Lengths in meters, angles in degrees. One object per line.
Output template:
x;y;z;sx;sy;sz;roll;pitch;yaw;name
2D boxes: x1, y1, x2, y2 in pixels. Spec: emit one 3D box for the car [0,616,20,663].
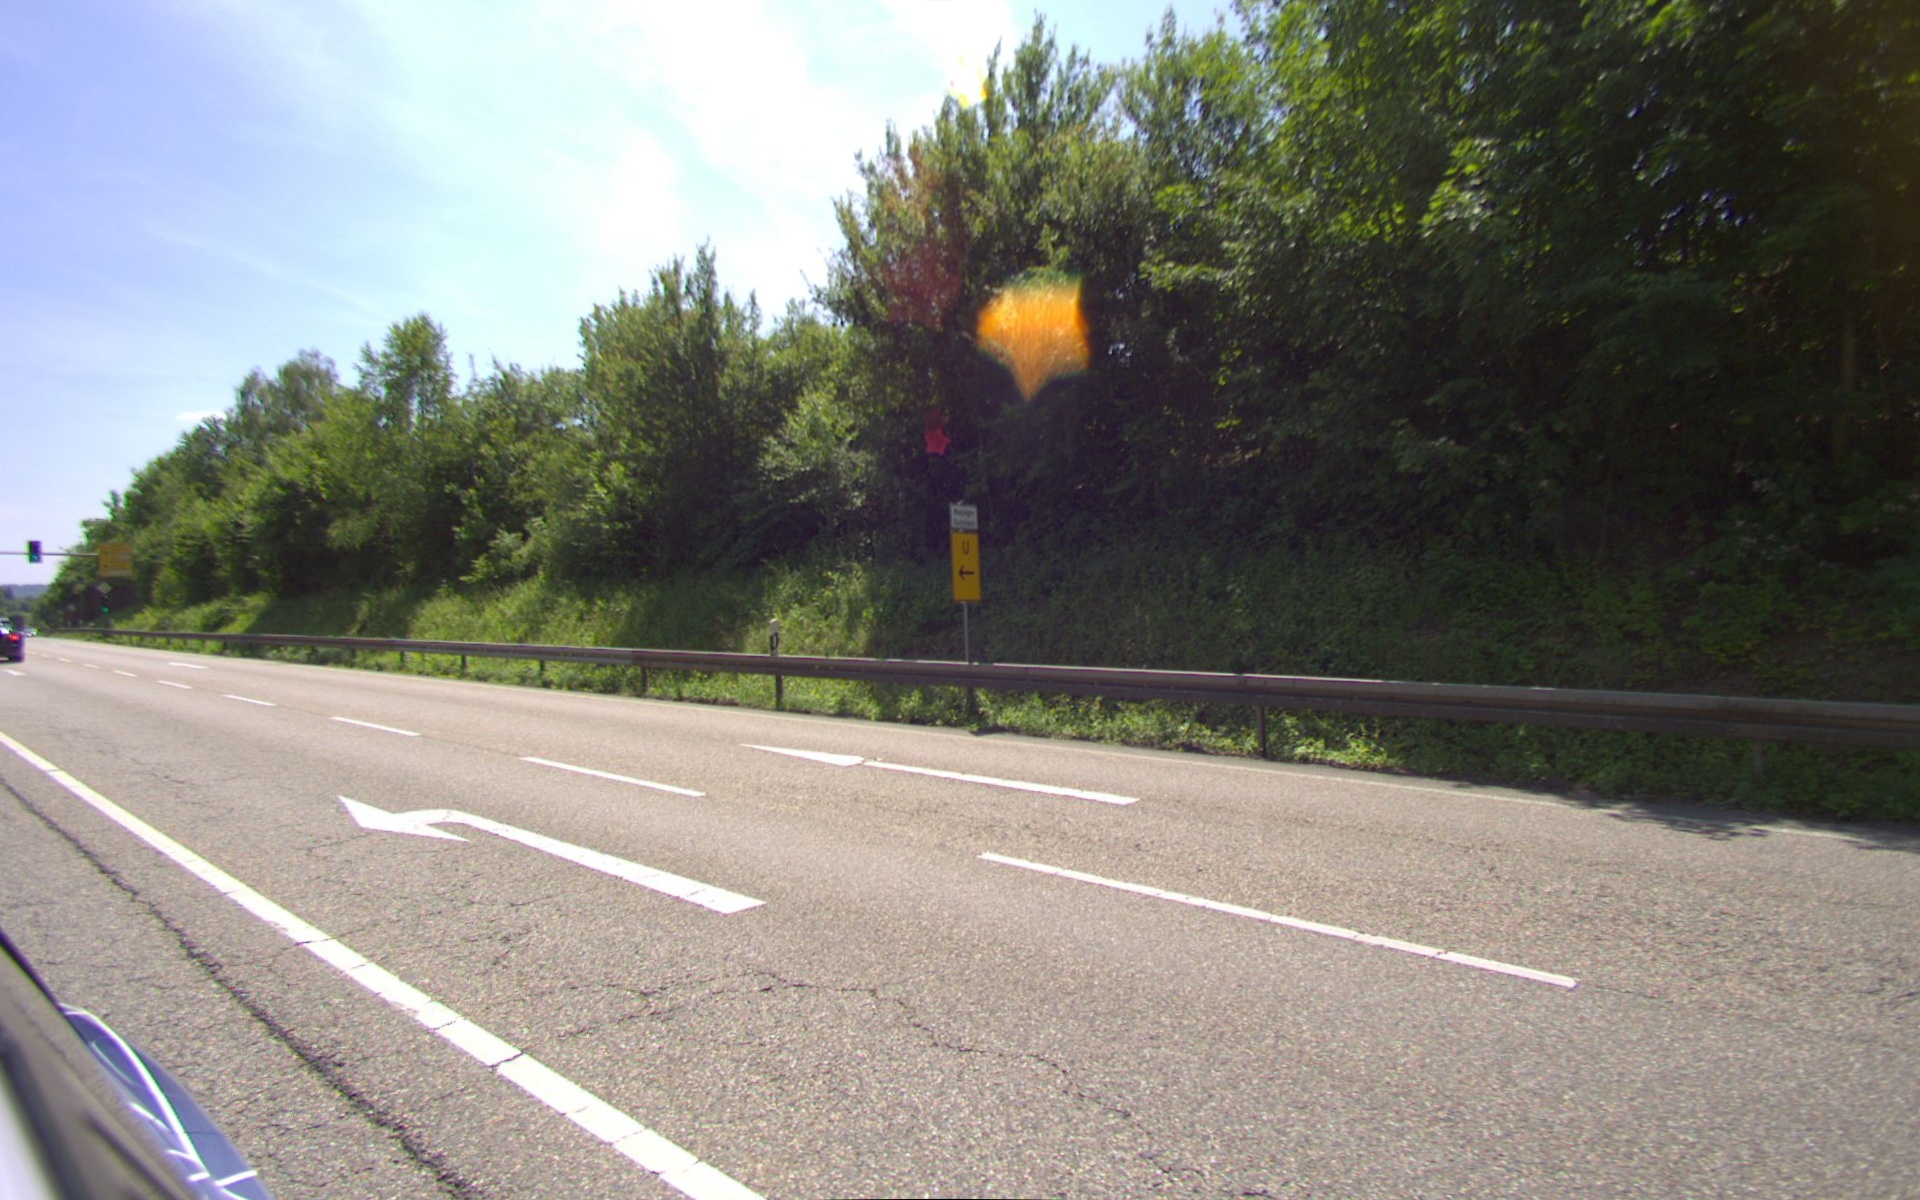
-31.484;1.259;32.358;4.387;1.464;1.784;-1;0;43;car
